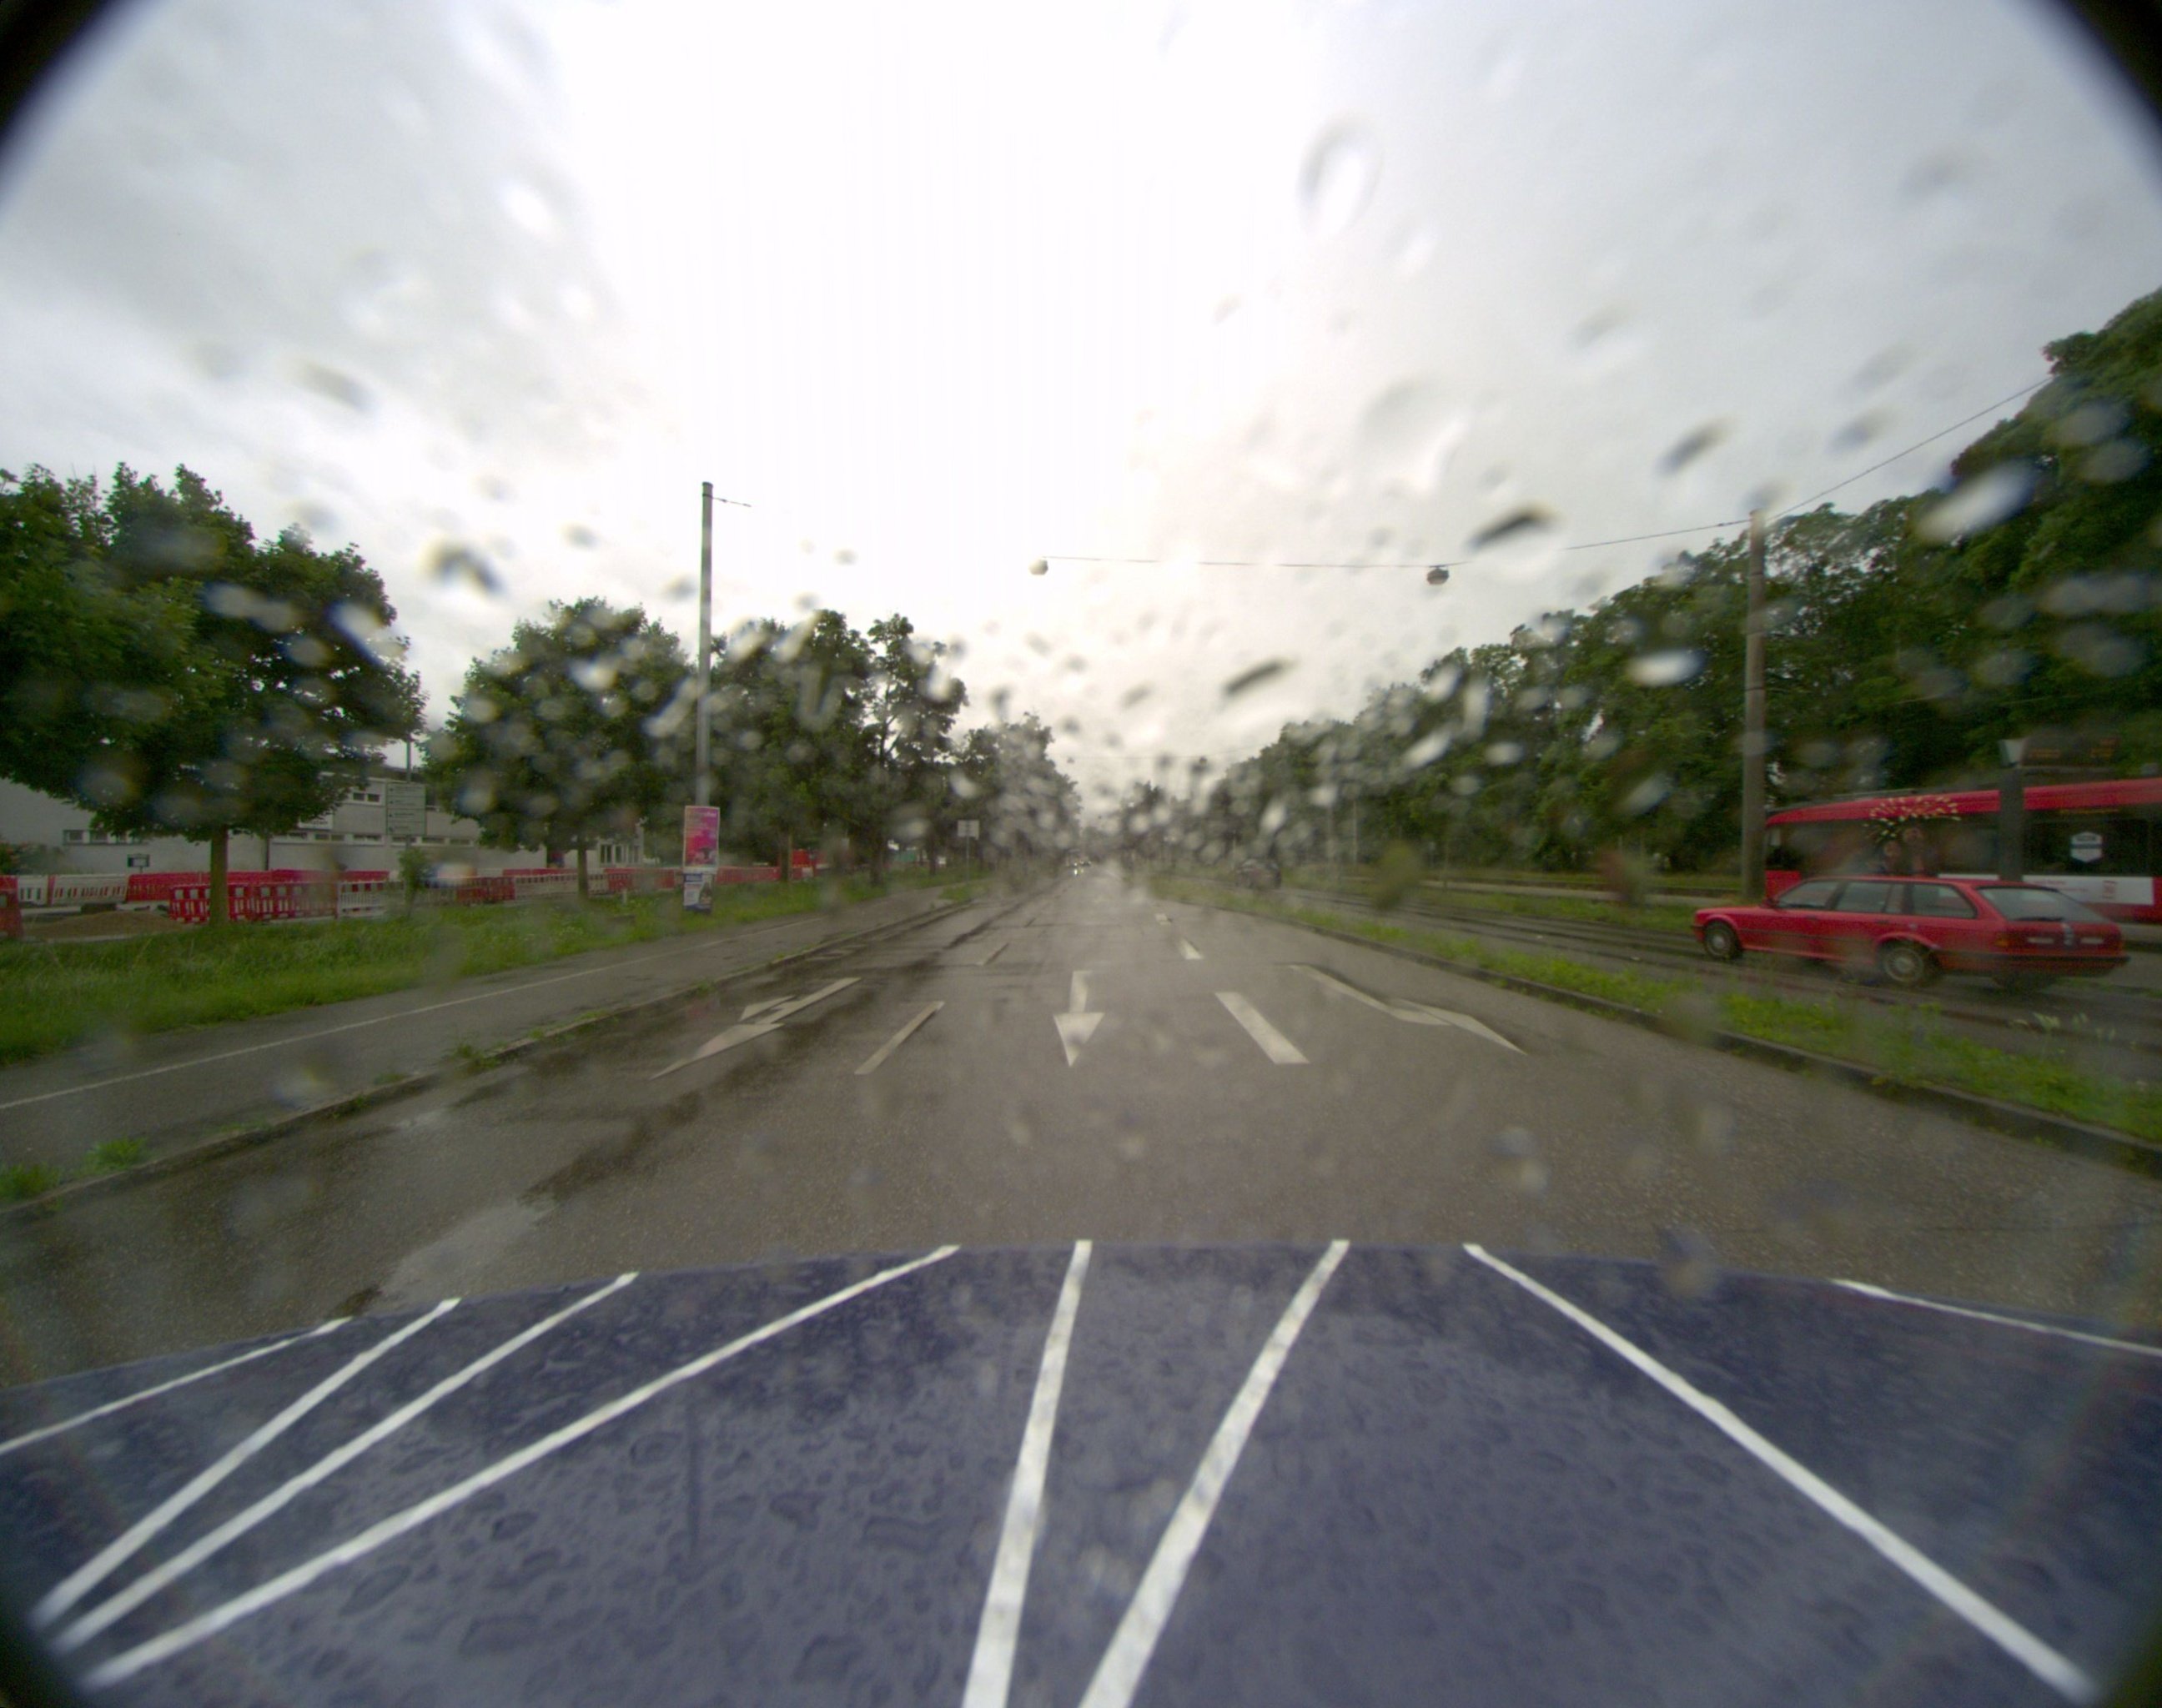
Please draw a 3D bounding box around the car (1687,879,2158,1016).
[{"bbox_3d":[10.898,1.085,10.426,1.685,1.353,4.250,0,0,-2],"label":"car"}]

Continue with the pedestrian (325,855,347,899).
[{"bbox_3d":[-31.246,0.970,31.870,0.363,1.831,0.496,0,1,1],"label":"pedestrian"}]

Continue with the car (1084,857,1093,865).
[{"bbox_3d":[1.543,1.492,164.001,1.812,1.683,3.776,-2,1,0],"label":"car"}]

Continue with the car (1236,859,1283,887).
[{"bbox_3d":[9.911,1.032,42.354,1.741,1.428,3.820,-1,1,1],"label":"car"}]

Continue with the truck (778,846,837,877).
[{"bbox_3d":[-27.926,0.706,78.090,2.811,2.882,8.748,-2,1,-1],"label":"truck"}]

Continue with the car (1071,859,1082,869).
[{"bbox_3d":[-0.874,1.821,134.600,1.858,1.583,3.999,-2,1,-1],"label":"car"}]

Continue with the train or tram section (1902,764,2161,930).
[{"bbox_3d":[23.761,-0.150,16.408,3.542,3.392,7.902,0,0,0],"label":"train or tram section"}]

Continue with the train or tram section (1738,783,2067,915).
[{"bbox_3d":[23.795,-0.131,22.587,3.542,3.398,5.769,0,0,0],"label":"train or tram section"}]
